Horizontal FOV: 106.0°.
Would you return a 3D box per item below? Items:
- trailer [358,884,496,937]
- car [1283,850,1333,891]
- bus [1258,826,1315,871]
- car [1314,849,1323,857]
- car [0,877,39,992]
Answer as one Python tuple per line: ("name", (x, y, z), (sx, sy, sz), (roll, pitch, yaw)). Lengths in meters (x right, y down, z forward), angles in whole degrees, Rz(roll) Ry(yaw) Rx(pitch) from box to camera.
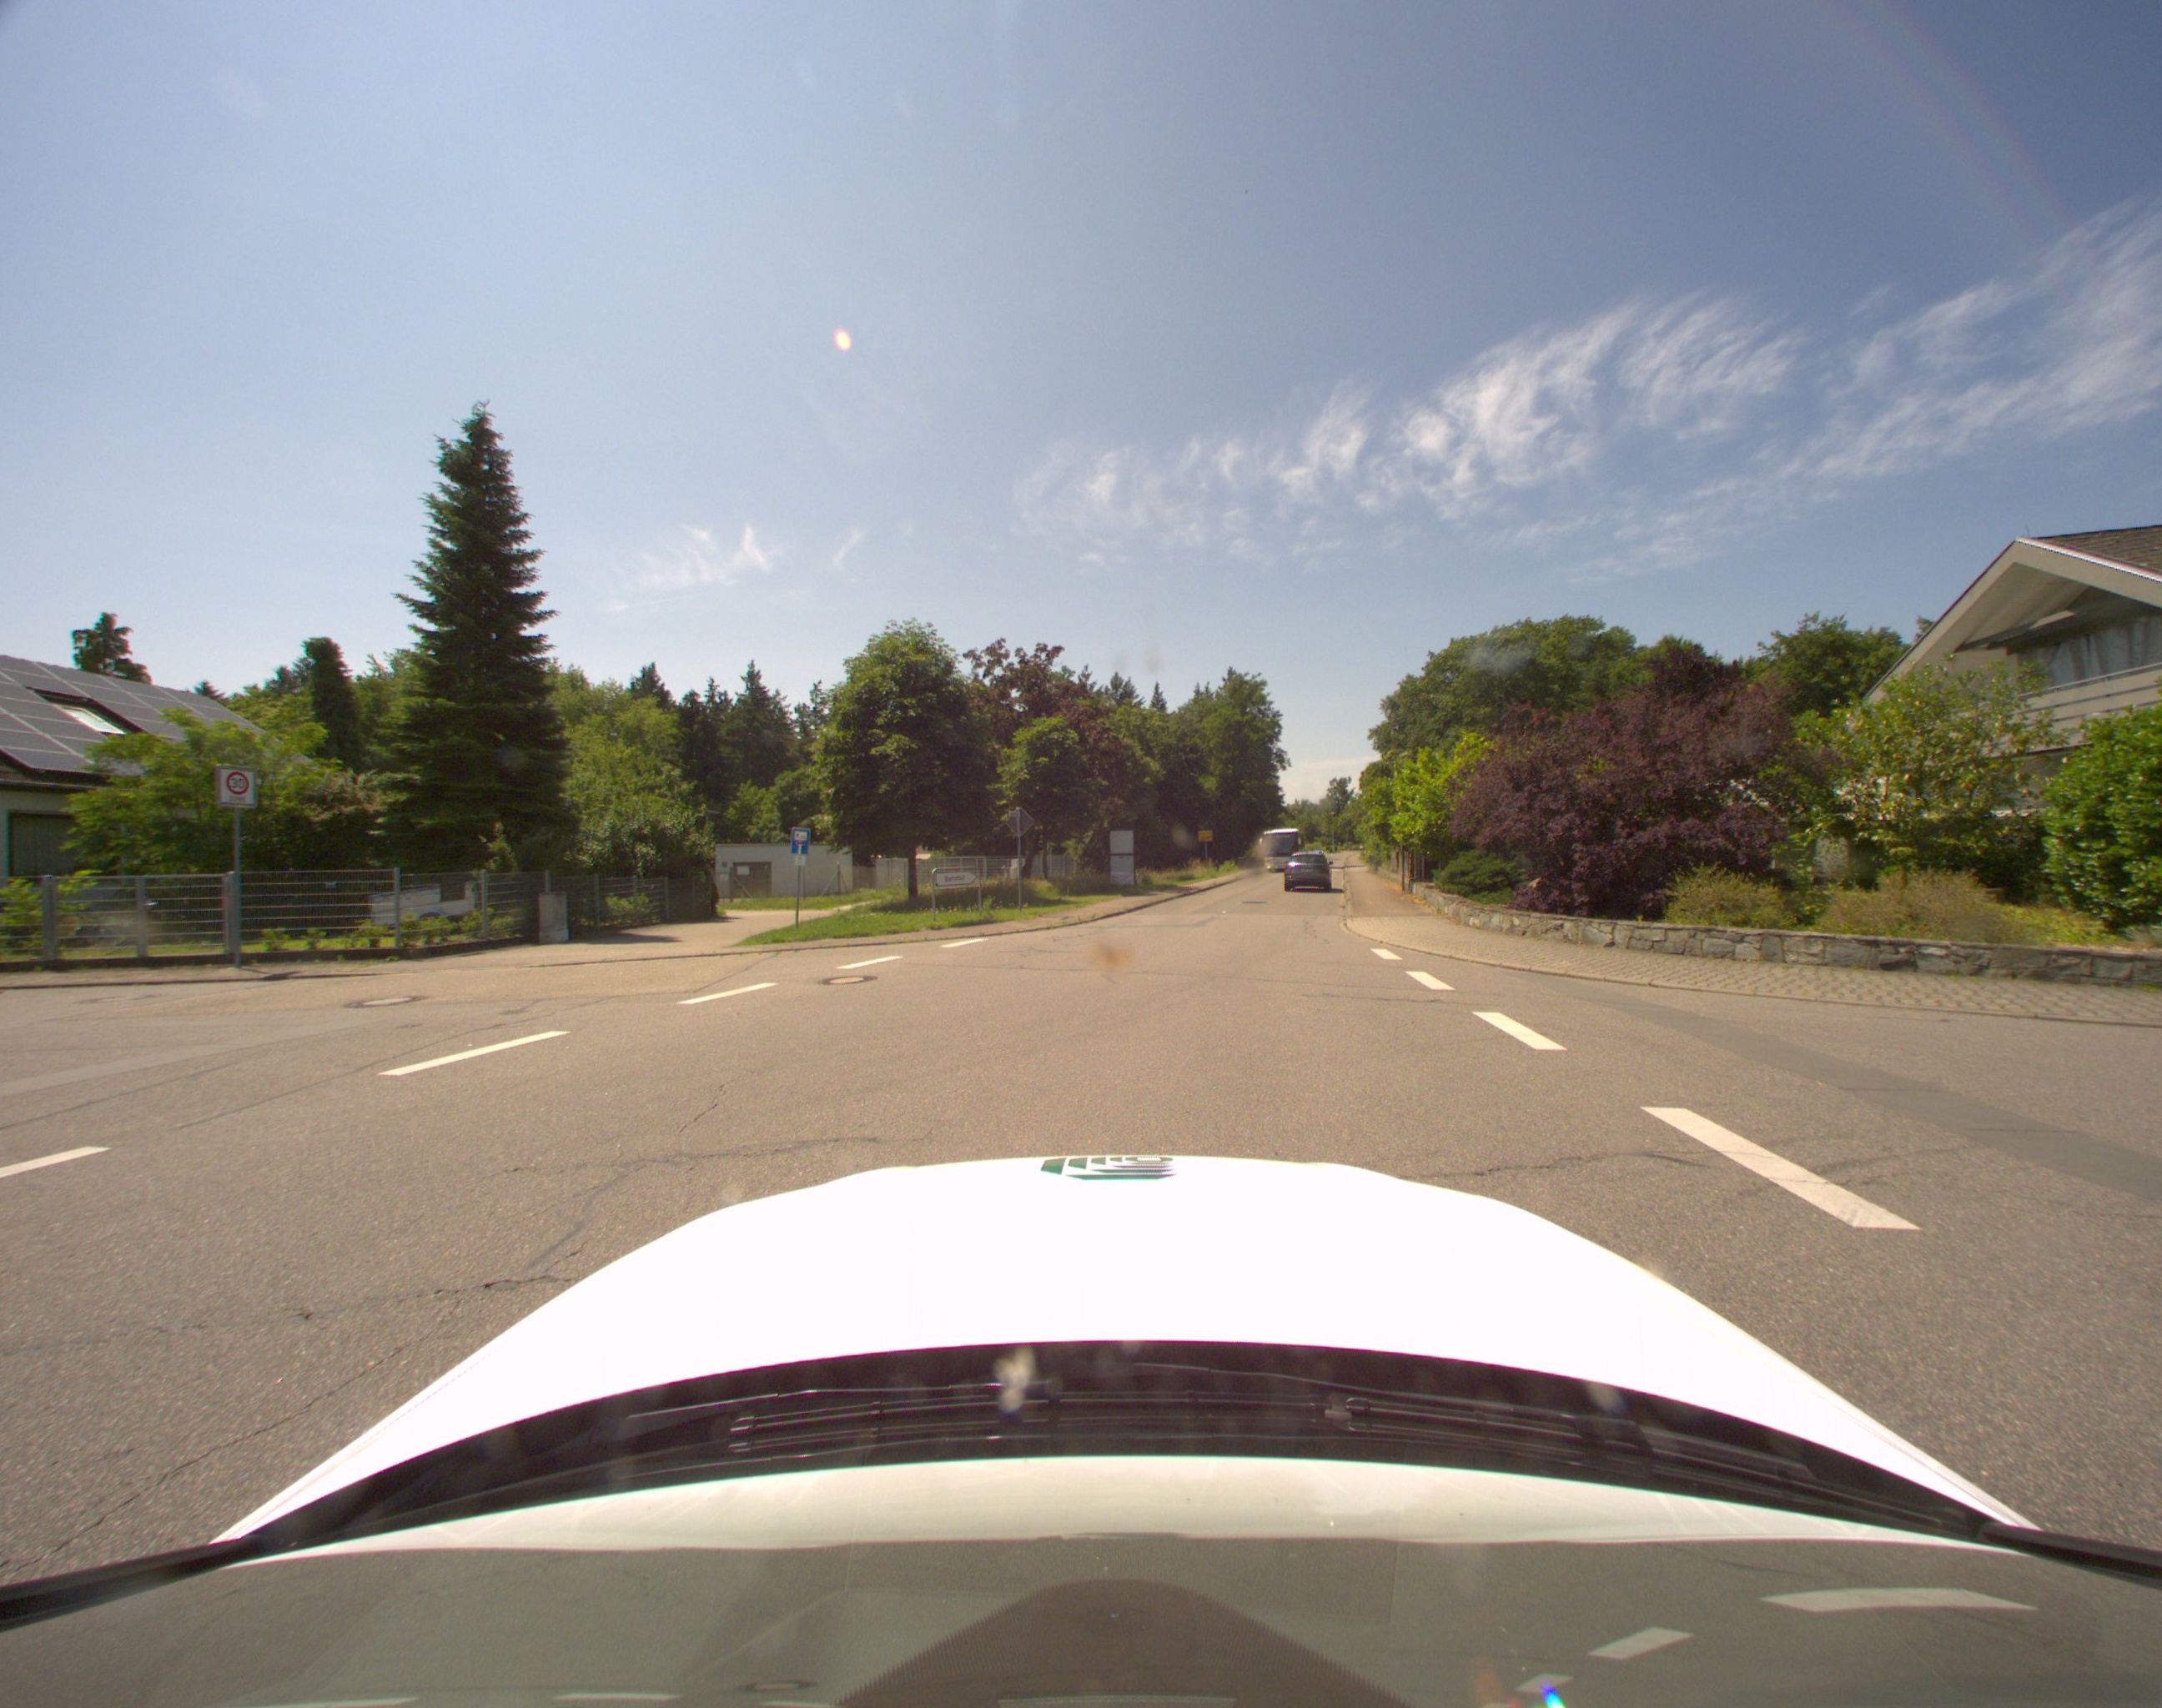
("trailer", (-15.185, 1.294, 19.004), (2.219, 1.084, 1.100), (-1, 0, -16))
("car", (9.487, 0.653, 33.833), (1.748, 1.618, 4.019), (0, 0, 19))
("bus", (16.758, -0.440, 65.718), (3.155, 3.244, 12.775), (-1, 0, 20))
("car", (56.603, -0.198, 194.317), (1.937, 1.860, 4.015), (-1, 0, 14))
("car", (-17.943, 1.220, 11.011), (4.663, 1.662, 1.964), (-1, 0, -8))
